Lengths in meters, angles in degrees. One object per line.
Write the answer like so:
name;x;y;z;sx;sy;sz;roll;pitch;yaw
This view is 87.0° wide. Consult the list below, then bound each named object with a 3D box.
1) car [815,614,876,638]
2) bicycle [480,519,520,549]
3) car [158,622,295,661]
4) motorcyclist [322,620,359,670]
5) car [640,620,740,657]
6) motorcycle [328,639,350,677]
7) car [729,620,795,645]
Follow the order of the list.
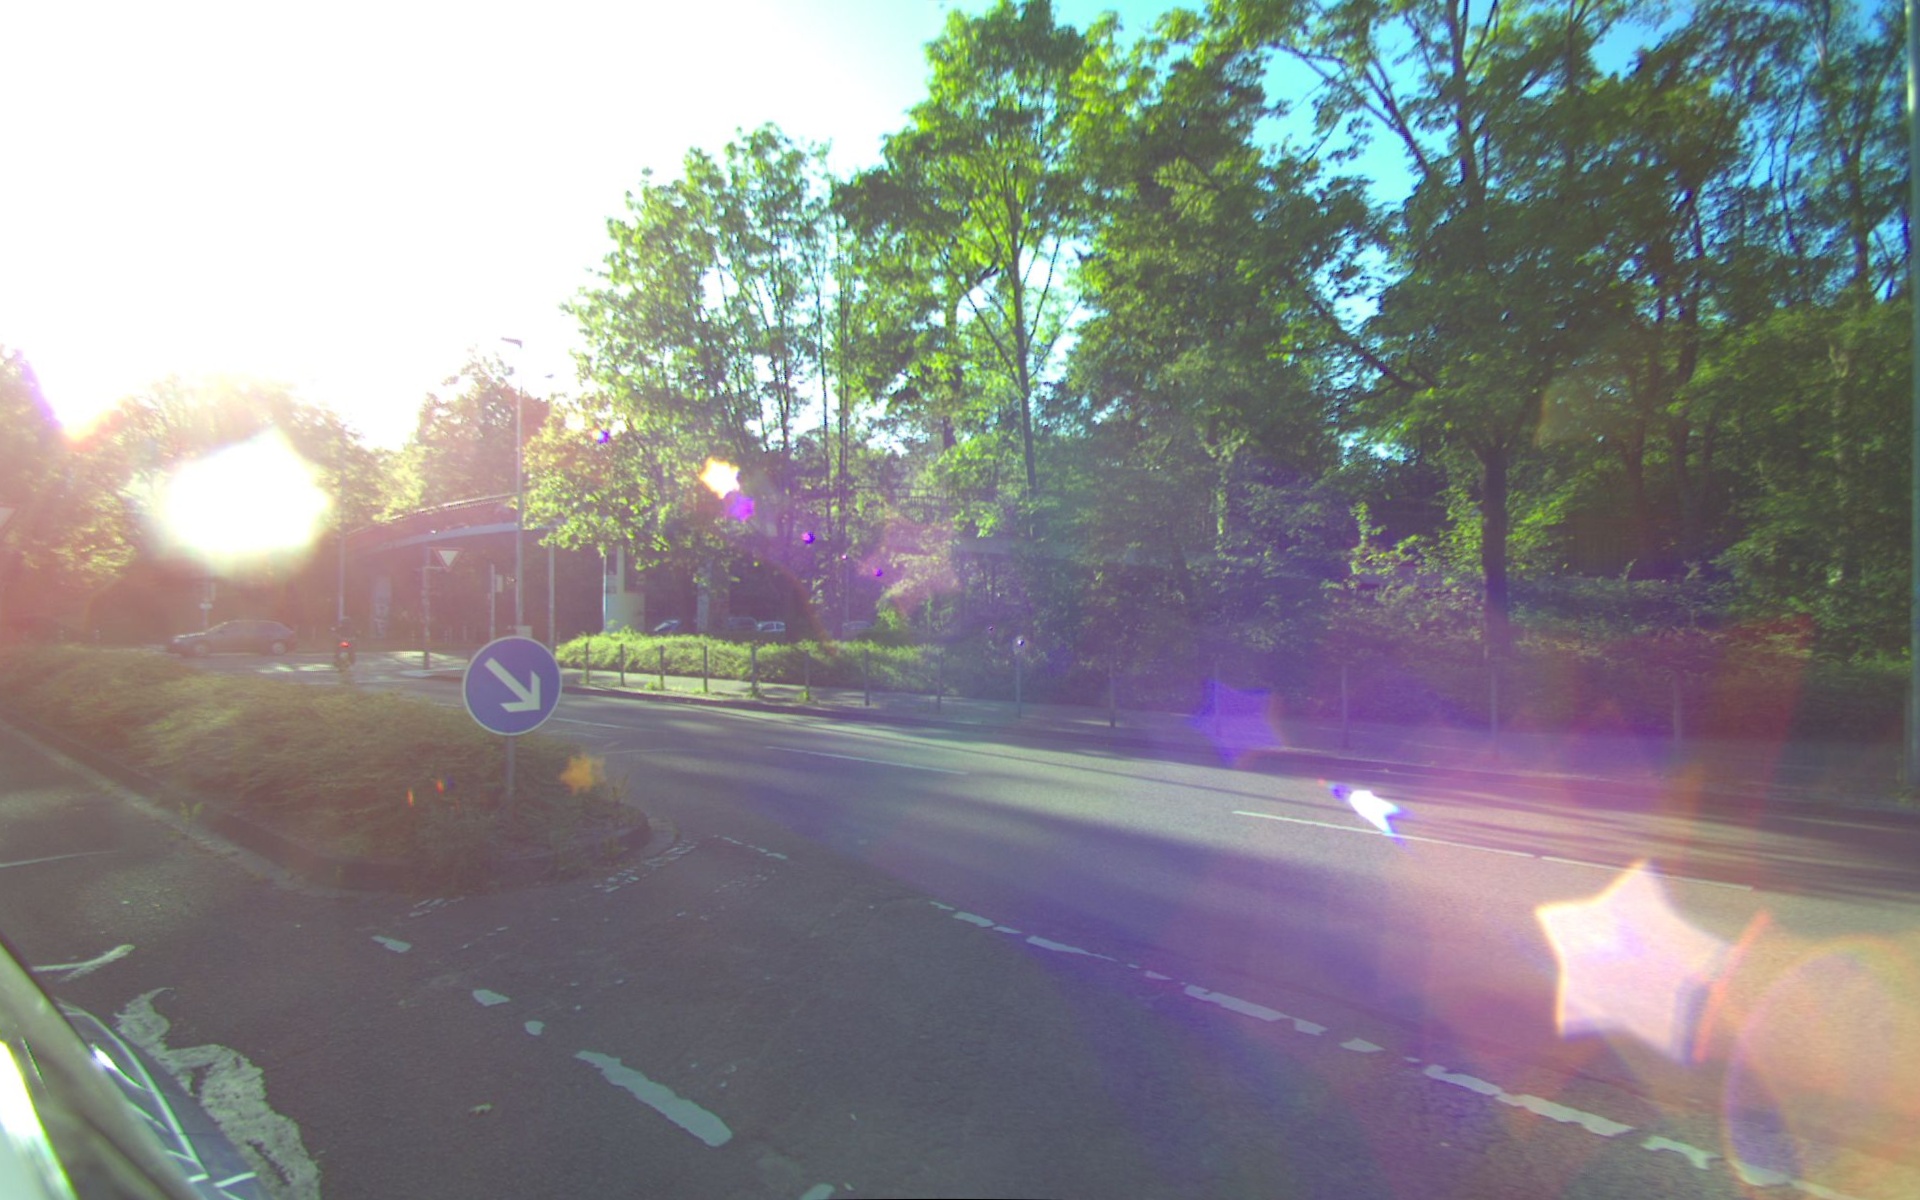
car;-7.999;1.806;70.936;1.737;1.519;4.096;-1;-1;41
bicycle;-23.637;-3.360;51.967;2.449;1.383;1.037;0;0;44
car;-27.923;1.538;38.605;1.868;1.400;3.945;-1;-1;41
motorcyclist;-18.952;1.369;30.988;0.935;1.482;1.073;0;-1;-30
car;-12.678;1.756;47.730;1.812;1.592;4.260;2;0;41
motorcycle;-19.006;1.748;30.996;0.515;1.077;2.294;0;-1;-31
car;-12.729;2.047;65.142;1.721;1.519;3.921;0;-1;41
